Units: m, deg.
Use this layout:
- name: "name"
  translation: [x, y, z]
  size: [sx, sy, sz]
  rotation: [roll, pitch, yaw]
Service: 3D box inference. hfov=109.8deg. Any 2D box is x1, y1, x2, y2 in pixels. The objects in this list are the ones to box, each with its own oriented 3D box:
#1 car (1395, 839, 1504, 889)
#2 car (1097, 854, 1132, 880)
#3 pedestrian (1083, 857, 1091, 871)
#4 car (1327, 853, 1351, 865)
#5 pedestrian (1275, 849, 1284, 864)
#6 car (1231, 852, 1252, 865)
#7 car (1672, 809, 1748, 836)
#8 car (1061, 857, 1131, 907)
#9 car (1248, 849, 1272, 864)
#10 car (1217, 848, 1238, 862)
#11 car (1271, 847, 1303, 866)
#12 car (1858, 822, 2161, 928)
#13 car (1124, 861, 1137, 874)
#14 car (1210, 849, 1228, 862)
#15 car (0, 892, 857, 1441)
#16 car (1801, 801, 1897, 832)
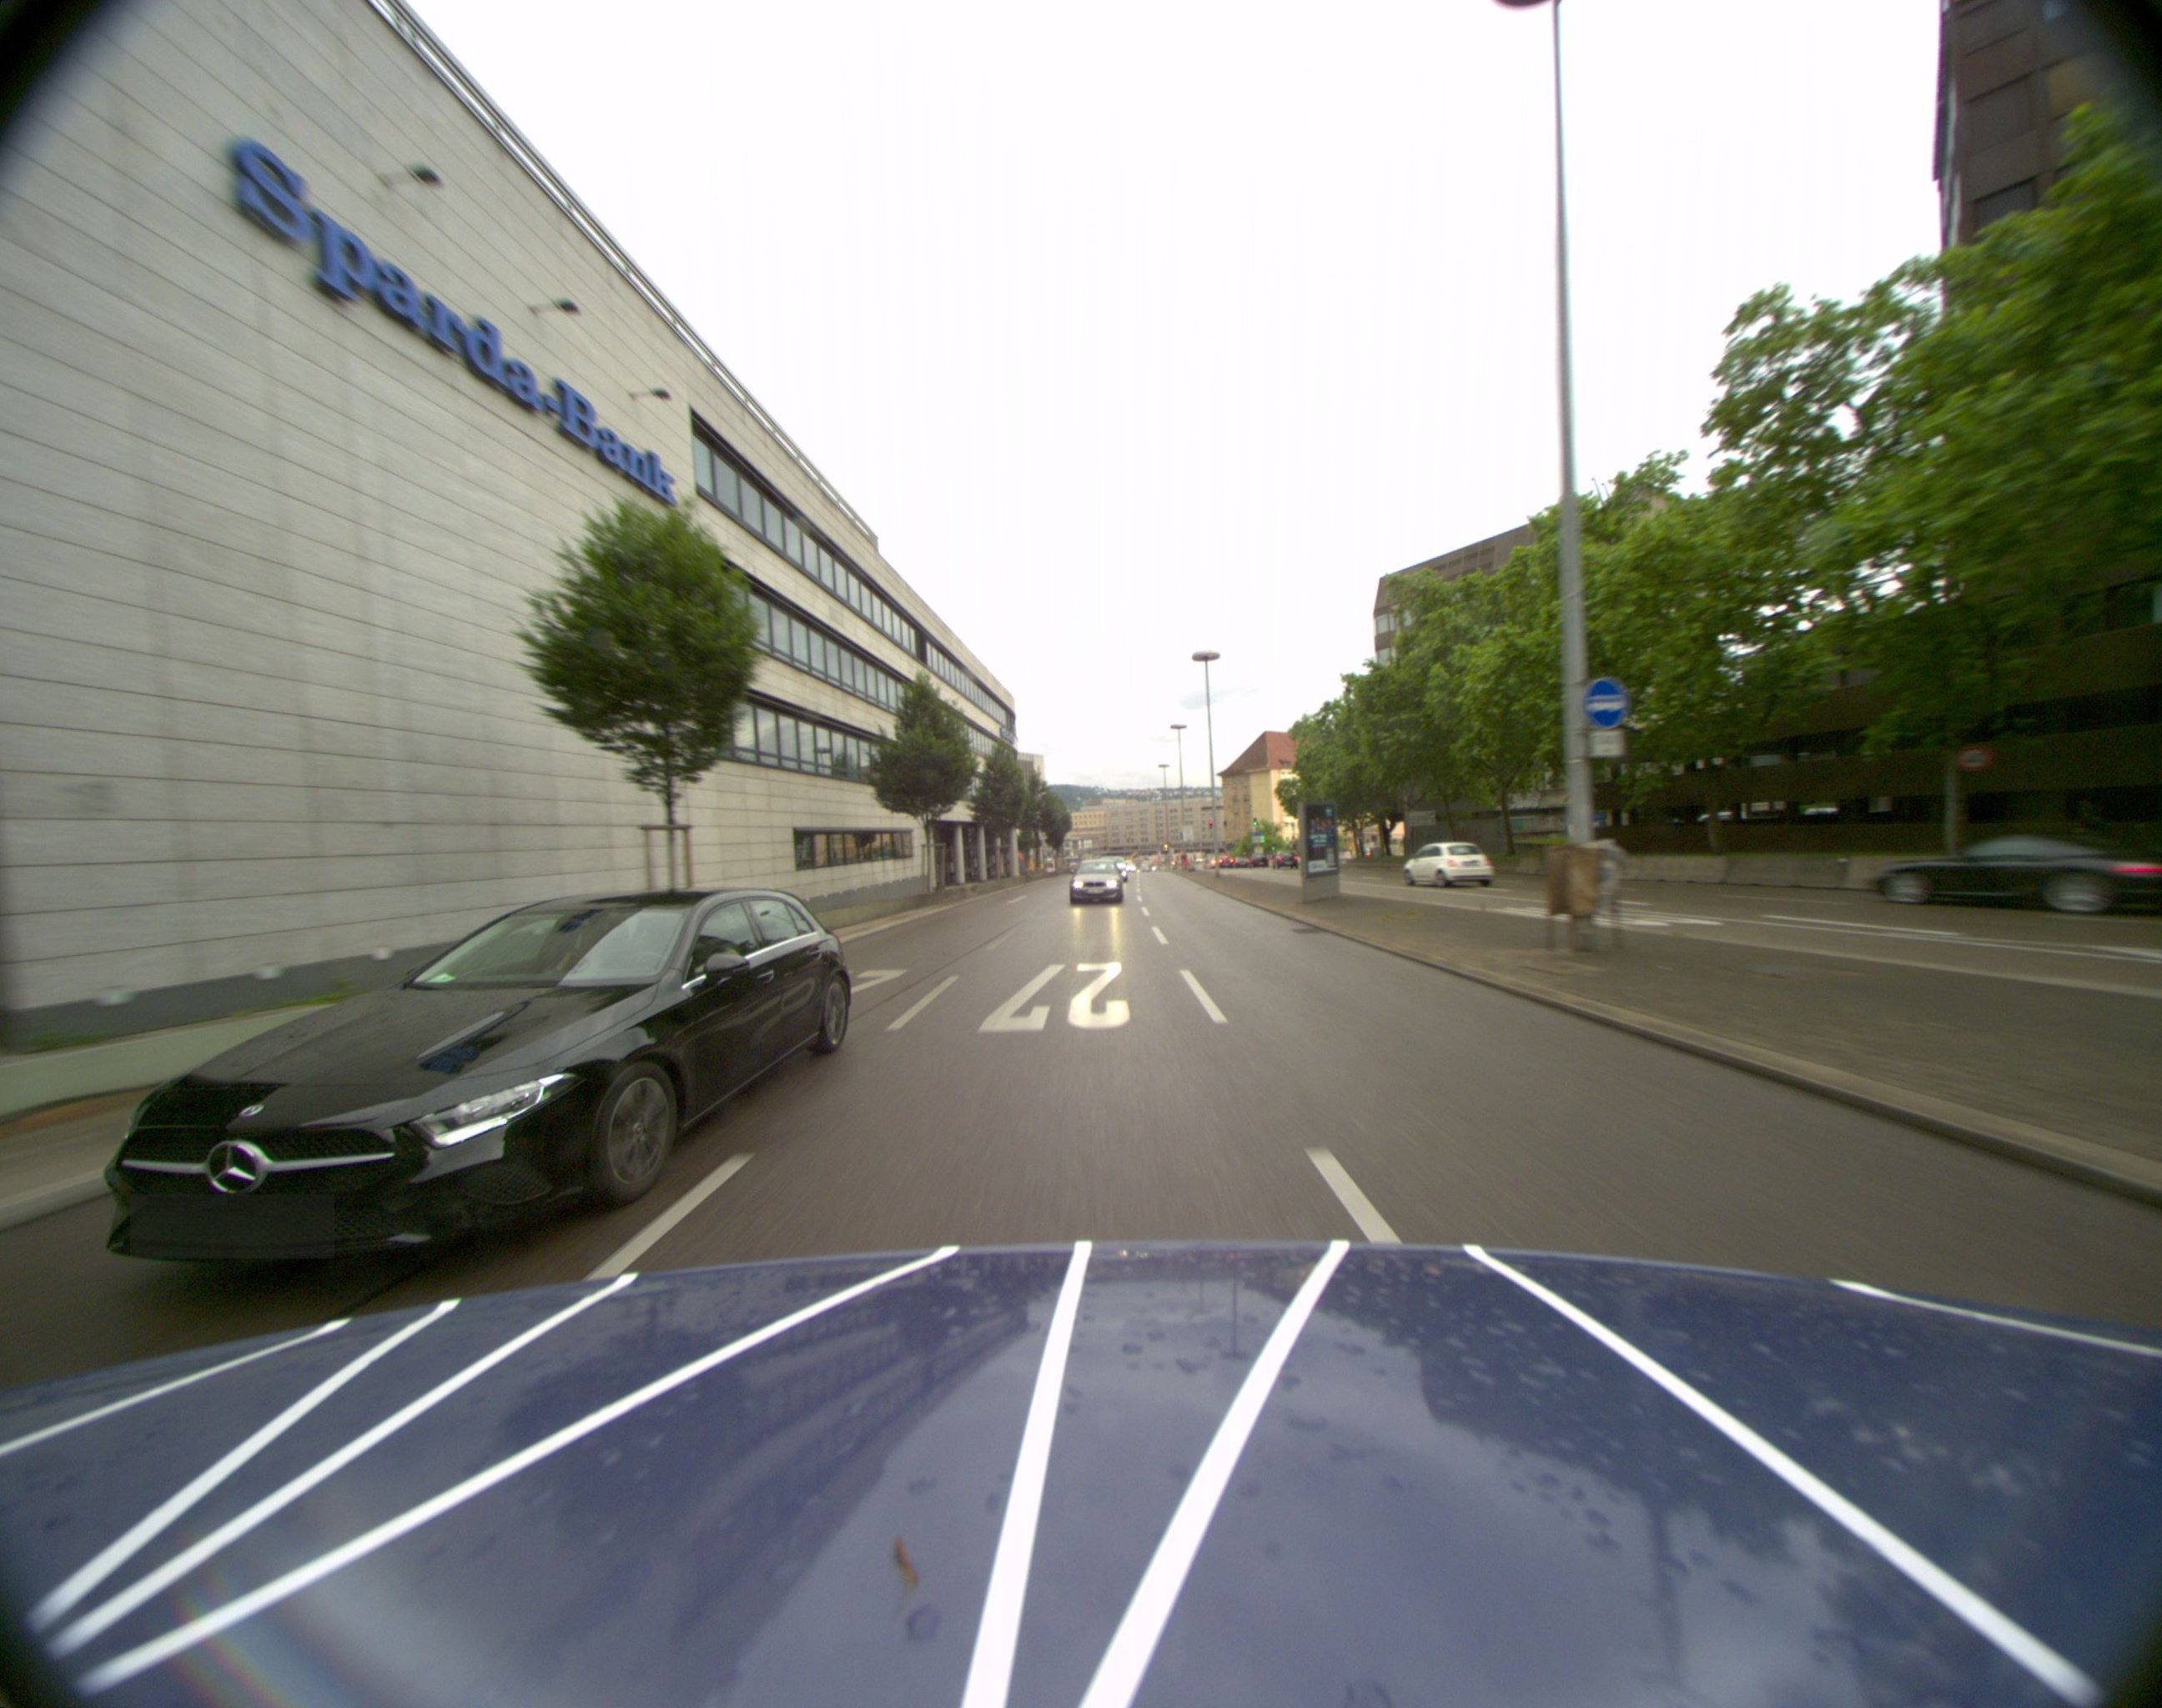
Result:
- name: "car"
  translation: [12.461, 0.309, 25.948]
  size: [1.758, 1.510, 3.739]
  rotation: [-2, 0, -3]
- name: "car"
  translation: [2.025, 0.728, 44.729]
  size: [1.862, 1.449, 4.207]
  rotation: [-1, 0, 5]
- name: "pedestrian"
  translation: [0.842, 1.367, 106.555]
  size: [0.765, 1.936, 0.995]
  rotation: [-2, 1, 23]
- name: "car"
  translation: [33.399, 0.641, 98.446]
  size: [1.938, 1.491, 4.508]
  rotation: [-2, 0, 4]
- name: "pedestrian"
  translation: [26.647, 0.285, 101.930]
  size: [0.812, 2.002, 0.662]
  rotation: [-2, 1, -26]
- name: "car"
  translation: [19.700, 0.551, 93.572]
  size: [1.938, 1.428, 4.508]
  rotation: [-2, 0, 4]
- name: "car"
  translation: [46.554, -2.292, 56.355]
  size: [3.990, 1.707, 2.004]
  rotation: [-2, 0, 29]
- name: "car"
  translation: [0.582, 0.874, 24.897]
  size: [1.862, 1.428, 4.208]
  rotation: [-2, -1, 6]
- name: "car"
  translation: [18.754, 0.255, 79.695]
  size: [1.937, 1.428, 4.078]
  rotation: [-2, 0, 6]
- name: "car"
  translation: [16.756, 0.054, 87.121]
  size: [1.798, 1.477, 3.865]
  rotation: [-3, 0, 4]
- name: "car"
  translation: [17.059, 0.228, 63.135]
  size: [1.937, 1.491, 4.175]
  rotation: [-2, -1, 7]
- name: "car"
  translation: [16.339, 0.273, 13.047]
  size: [1.758, 1.510, 4.170]
  rotation: [-2, 0, 1]
- name: "car"
  translation: [8.372, 2.310, 128.048]
  size: [1.997, 2.002, 4.002]
  rotation: [-2, 0, 7]
- name: "car"
  translation: [17.038, 0.148, 93.771]
  size: [1.798, 1.477, 3.864]
  rotation: [-2, 1, 4]
- name: "car"
  translation: [-3.007, 1.071, 4.411]
  size: [1.877, 1.428, 4.206]
  rotation: [-2, 0, 4]
- name: "car"
  translation: [48.294, -2.299, 47.916]
  size: [1.998, 1.707, 4.000]
  rotation: [-2, 0, 1]
